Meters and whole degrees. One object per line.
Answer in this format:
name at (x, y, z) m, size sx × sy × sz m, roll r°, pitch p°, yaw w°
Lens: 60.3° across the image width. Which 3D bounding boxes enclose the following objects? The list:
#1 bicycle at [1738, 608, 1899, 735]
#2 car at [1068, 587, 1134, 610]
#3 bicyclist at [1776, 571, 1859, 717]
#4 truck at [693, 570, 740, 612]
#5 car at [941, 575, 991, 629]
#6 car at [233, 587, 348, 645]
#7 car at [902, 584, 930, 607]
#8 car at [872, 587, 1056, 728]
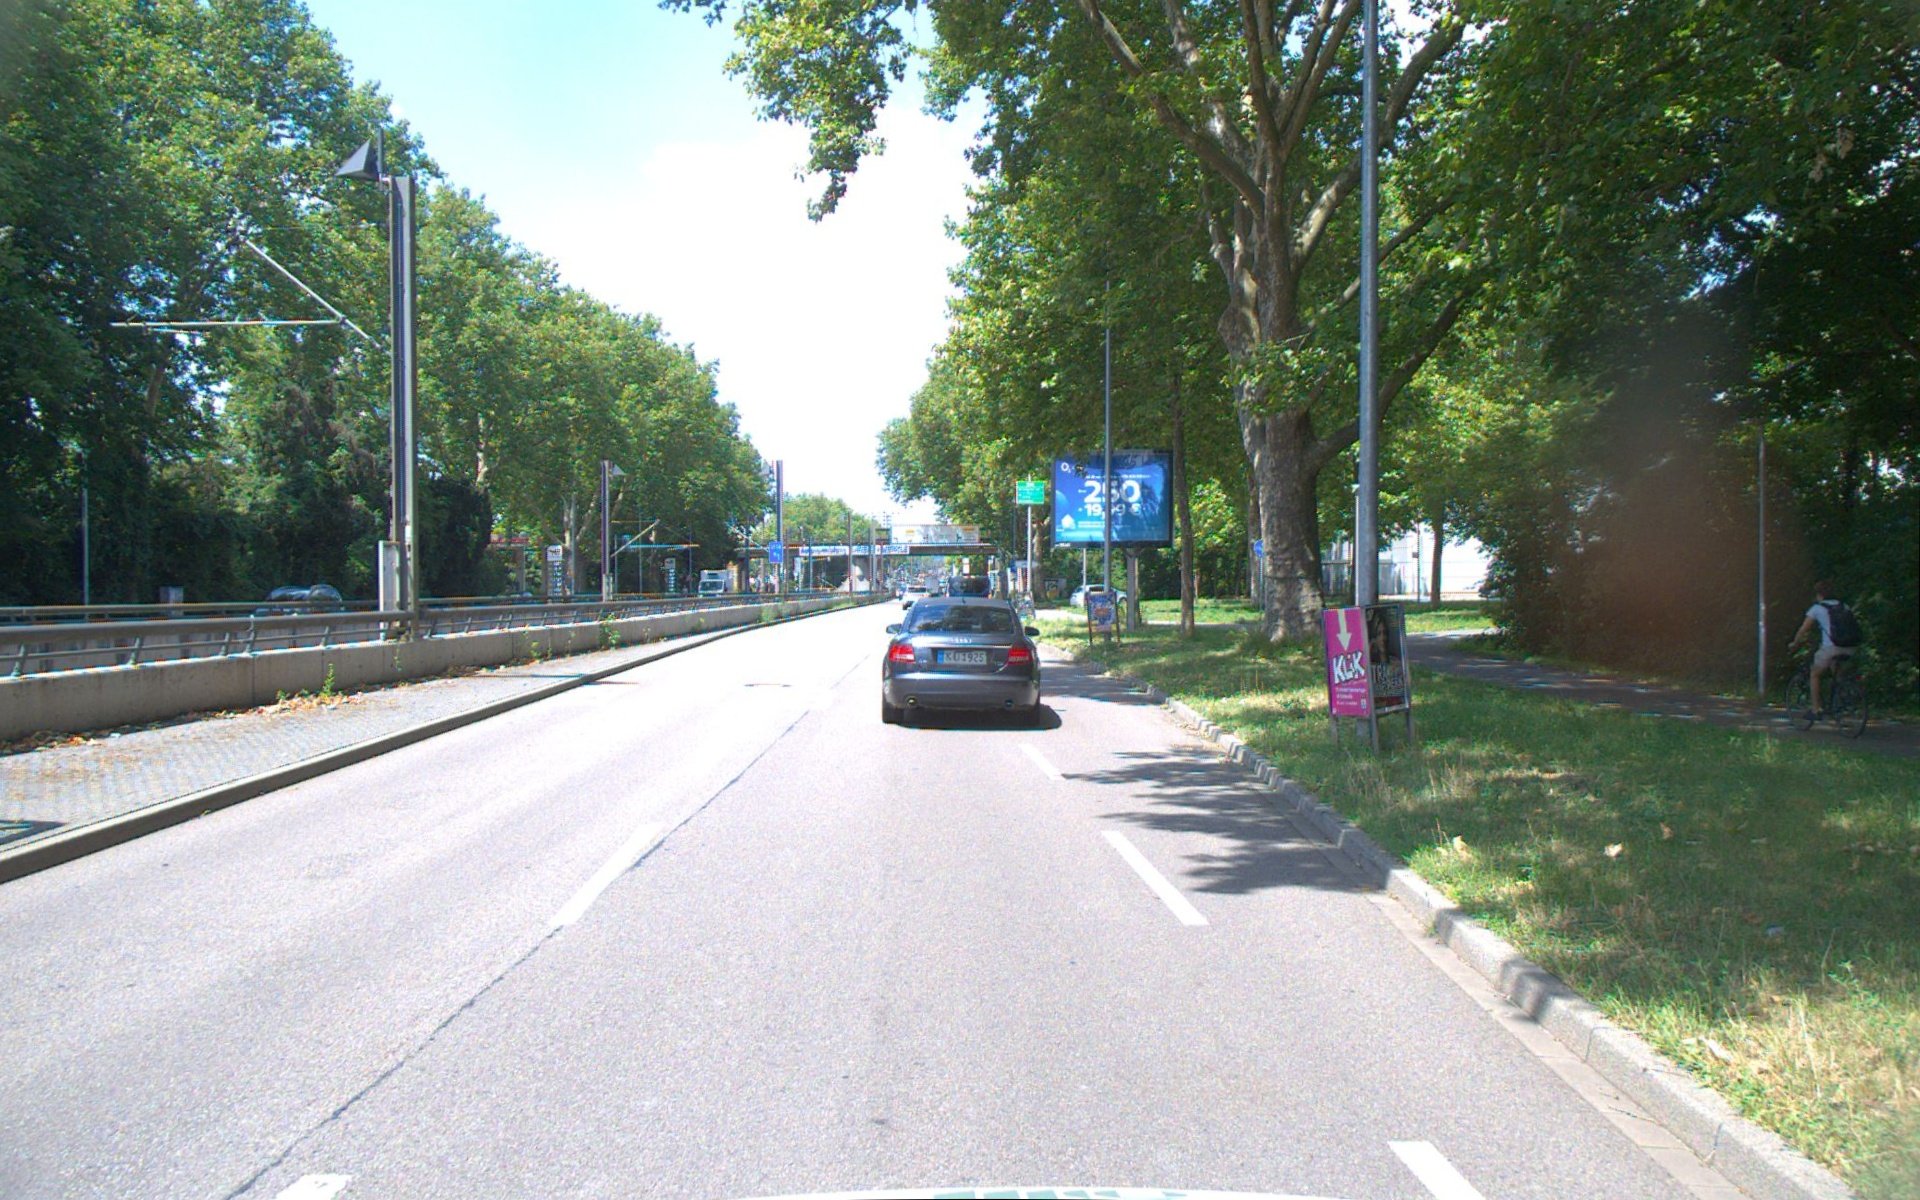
bicycle at (10.699, 0.843, 20.733) m, size 0.598 × 1.444 × 2.661 m, roll 0°, pitch 1°, yaw -1°
car at (9.021, -0.101, 105.890) m, size 3.913 × 1.434 × 1.796 m, roll 0°, pitch 0°, yaw -9°
bicyclist at (10.708, 0.537, 20.674) m, size 0.585 × 1.776 × 0.843 m, roll 1°, pitch 0°, yaw -1°
truck at (-18.395, -0.645, 125.159) m, size 2.931 × 3.073 × 7.993 m, roll 0°, pitch 0°, yaw -4°
car at (0.252, 0.051, 64.536) m, size 1.810 × 1.993 × 4.145 m, roll 1°, pitch 0°, yaw 2°
car at (-21.953, 0.498, 54.413) m, size 1.829 × 1.713 × 4.385 m, roll 3°, pitch 0°, yaw 2°
car at (-2.965, -0.318, 110.784) m, size 1.808 × 1.489 × 3.998 m, roll 0°, pitch 0°, yaw -2°
car at (-0.057, 0.605, 19.746) m, size 1.807 × 1.510 × 3.995 m, roll 0°, pitch 0°, yaw -6°
